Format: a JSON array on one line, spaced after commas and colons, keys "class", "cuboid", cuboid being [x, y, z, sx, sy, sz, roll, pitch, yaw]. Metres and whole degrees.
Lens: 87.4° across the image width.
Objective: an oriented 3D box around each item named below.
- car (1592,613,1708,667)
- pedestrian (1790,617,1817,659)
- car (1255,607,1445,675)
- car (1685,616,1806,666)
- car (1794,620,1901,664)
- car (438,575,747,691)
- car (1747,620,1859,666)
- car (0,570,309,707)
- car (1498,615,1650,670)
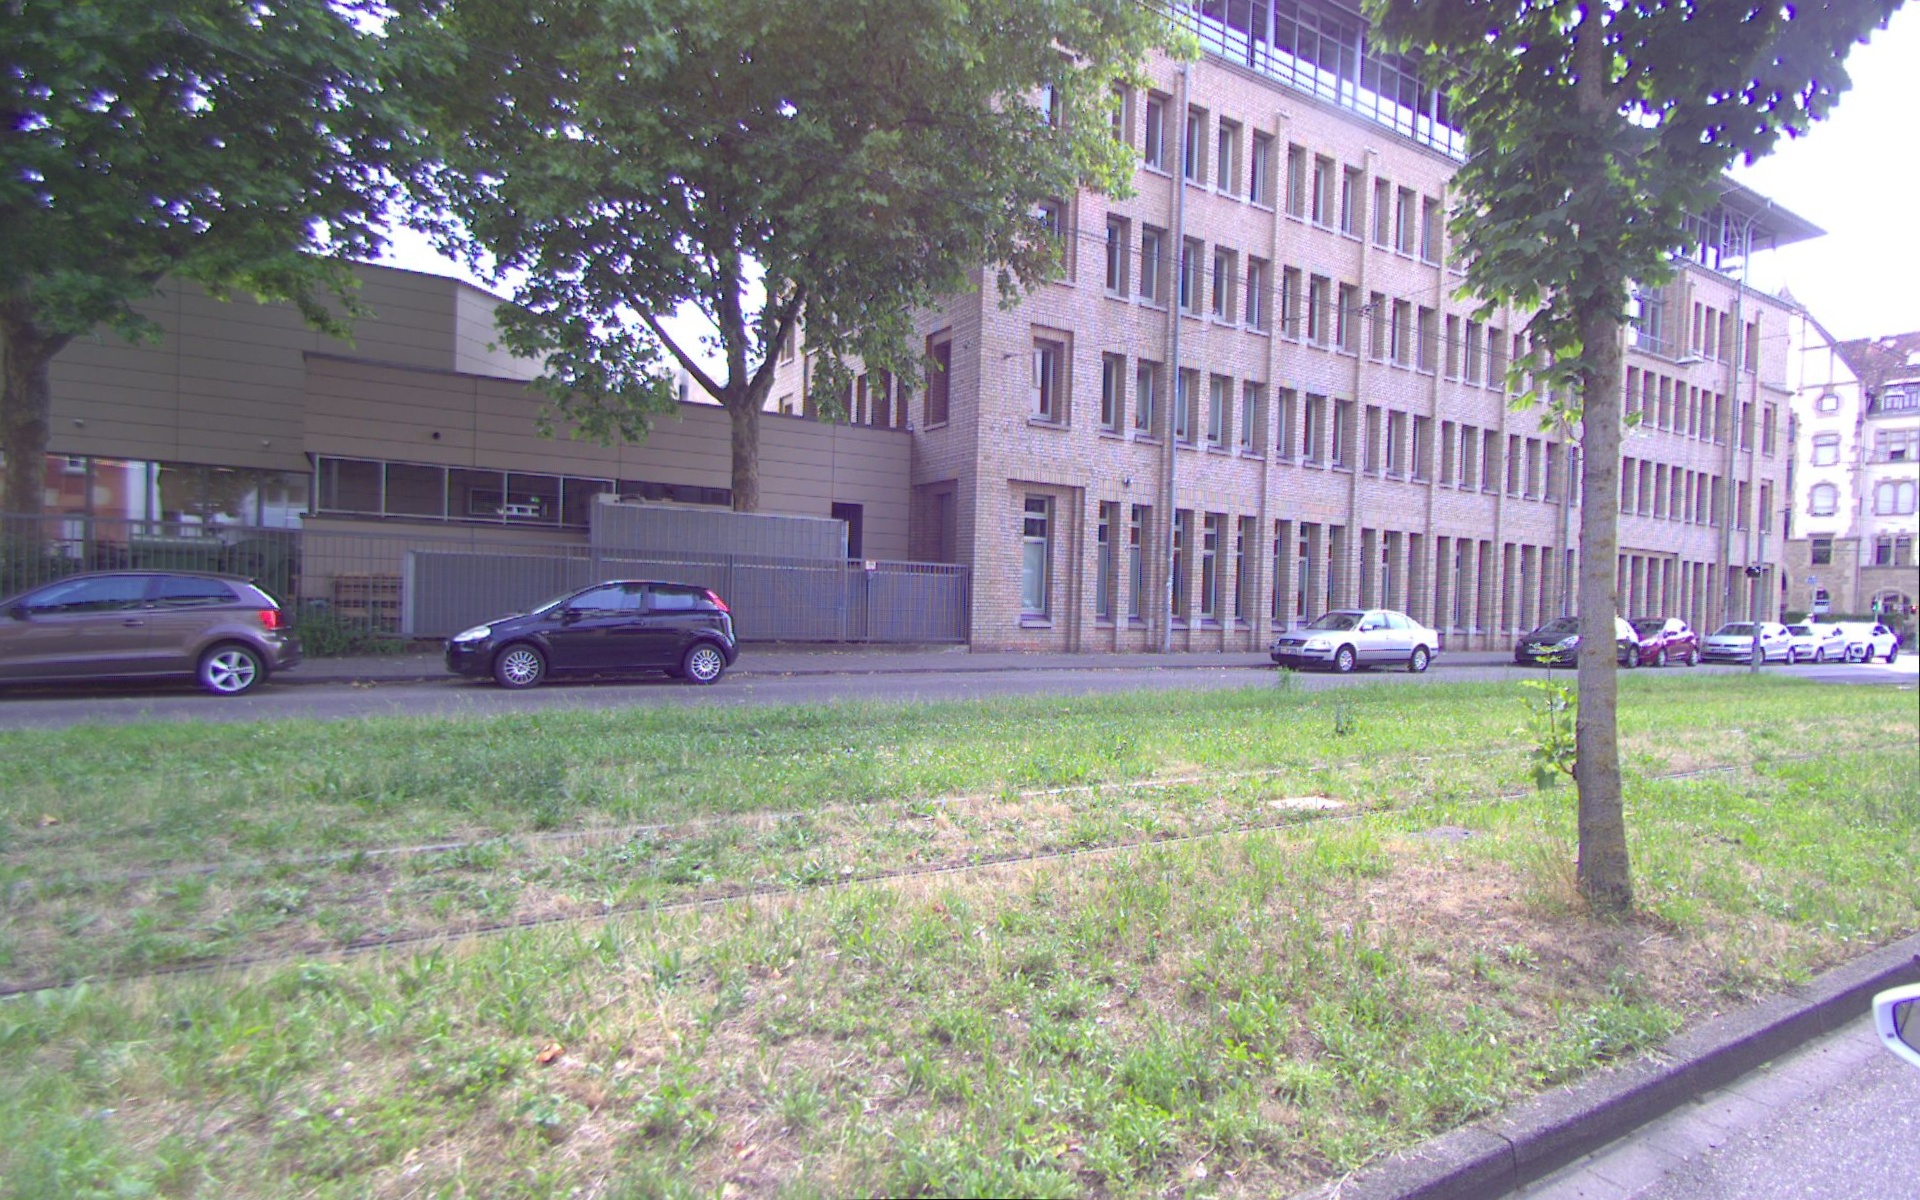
[{"class": "car", "cuboid": [21.357, 1.238, 31.080, 3.507, 1.551, 1.575, 2, 0, -30]}, {"class": "pedestrian", "cuboid": [37.864, 1.704, 45.102, 0.749, 1.819, 0.957, 2, 1, 34]}, {"class": "car", "cuboid": [9.128, 0.936, 23.419, 4.432, 1.415, 1.707, 2, 0, -30]}, {"class": "car", "cuboid": [26.986, 1.394, 34.473, 4.160, 1.551, 1.842, 2, 0, -30]}, {"class": "car", "cuboid": [34.991, 1.644, 39.576, 4.208, 1.555, 1.924, 2, 0, -30]}, {"class": "car", "cuboid": [-5.268, 0.454, 14.453, 3.950, 1.472, 1.795, 2, 0, -28]}, {"class": "car", "cuboid": [31.191, 1.592, 37.154, 3.967, 1.551, 1.924, 2, 0, -30]}, {"class": "car", "cuboid": [-9.905, 0.414, 11.644, 3.857, 1.445, 1.546, 2, 0, -31]}, {"class": "car", "cuboid": [17.470, 1.192, 28.563, 4.189, 1.415, 1.924, 2, 0, -30]}]
